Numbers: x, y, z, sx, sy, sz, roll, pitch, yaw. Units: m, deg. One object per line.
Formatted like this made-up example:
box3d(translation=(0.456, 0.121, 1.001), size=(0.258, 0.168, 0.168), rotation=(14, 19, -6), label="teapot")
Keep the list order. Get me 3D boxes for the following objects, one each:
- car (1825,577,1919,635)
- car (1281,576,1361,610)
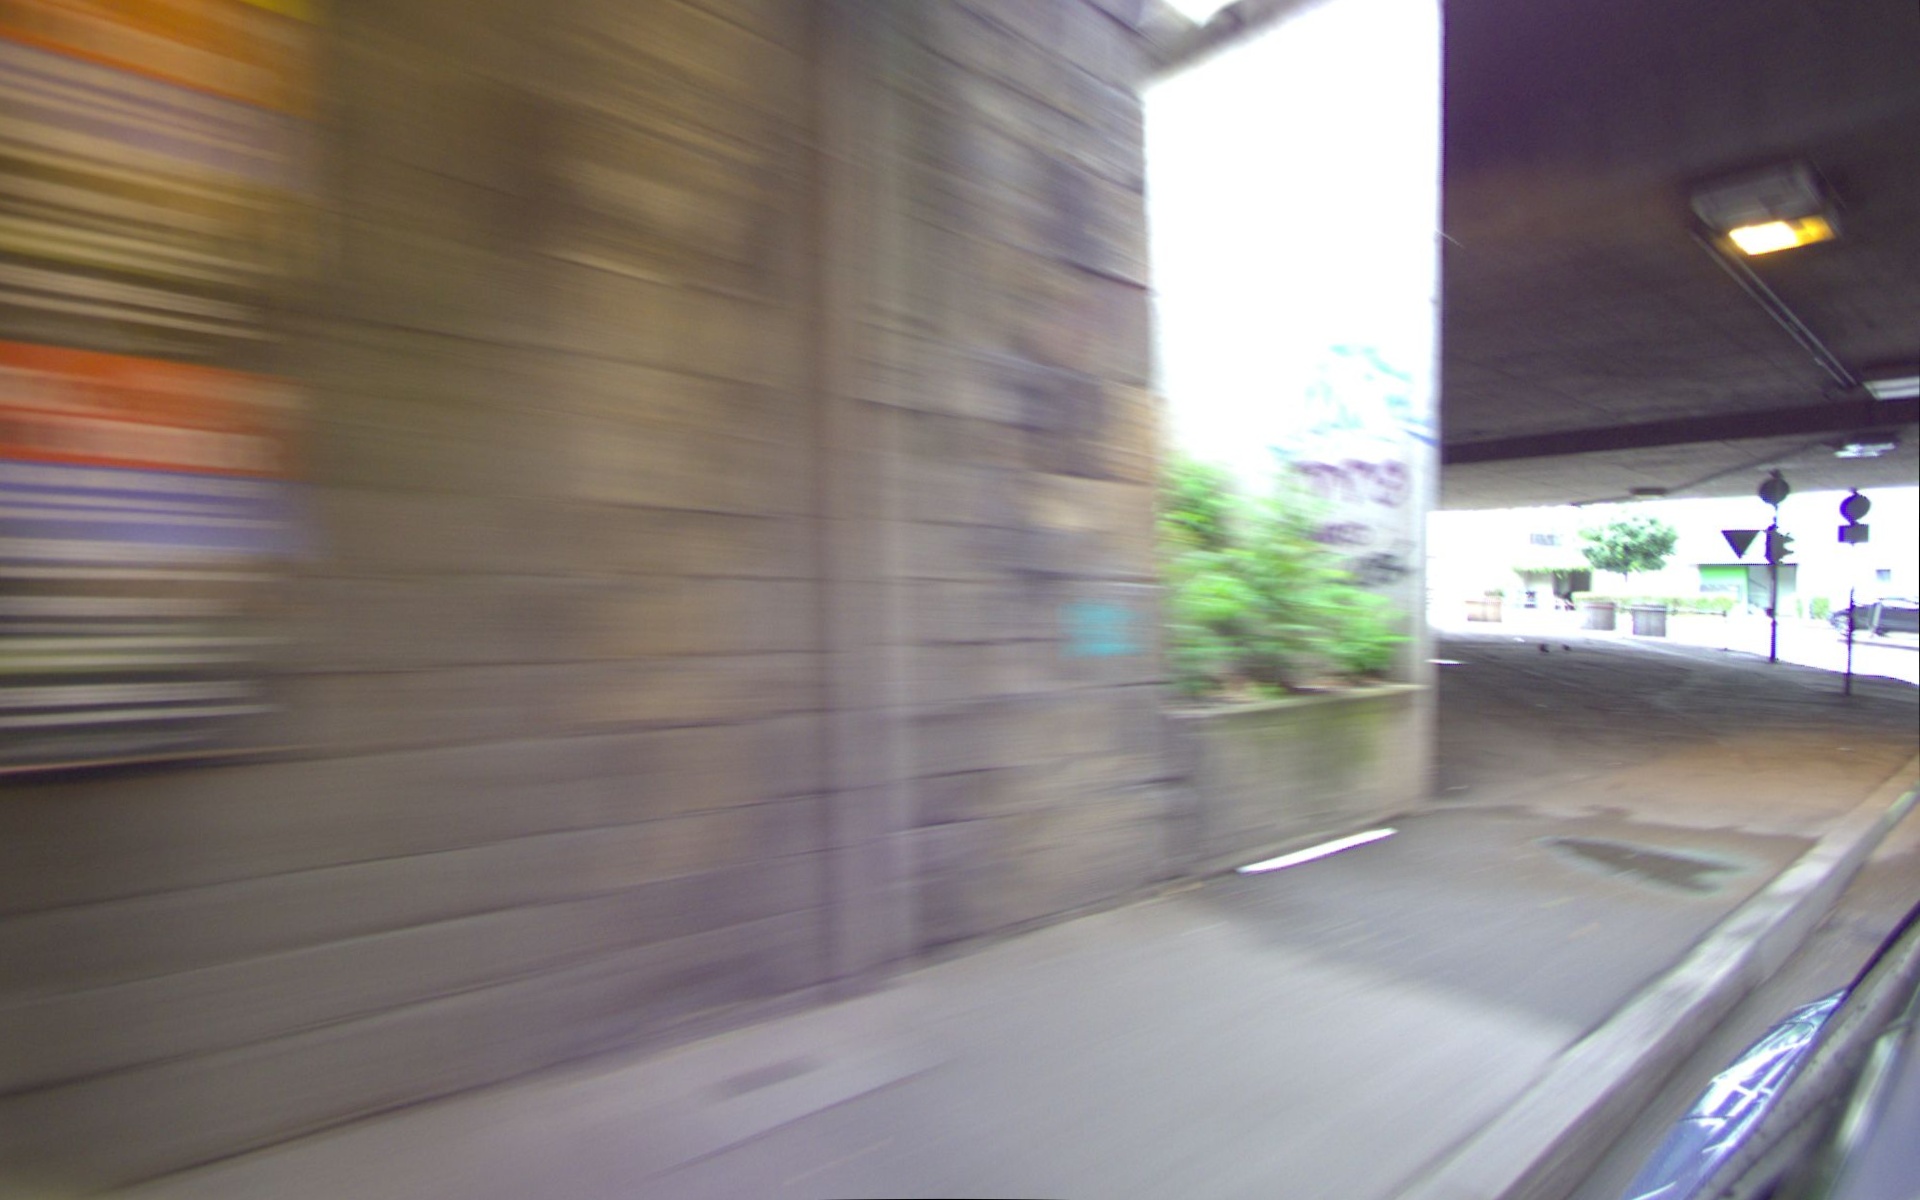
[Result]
box3d(translation=(28.408, 0.165, 29.727), size=(1.732, 1.599, 4.244), rotation=(-1, 3, -19), label="car")
box3d(translation=(19.007, -0.377, 53.381), size=(1.618, 1.577, 3.621), rotation=(2, 1, -44), label="car")
